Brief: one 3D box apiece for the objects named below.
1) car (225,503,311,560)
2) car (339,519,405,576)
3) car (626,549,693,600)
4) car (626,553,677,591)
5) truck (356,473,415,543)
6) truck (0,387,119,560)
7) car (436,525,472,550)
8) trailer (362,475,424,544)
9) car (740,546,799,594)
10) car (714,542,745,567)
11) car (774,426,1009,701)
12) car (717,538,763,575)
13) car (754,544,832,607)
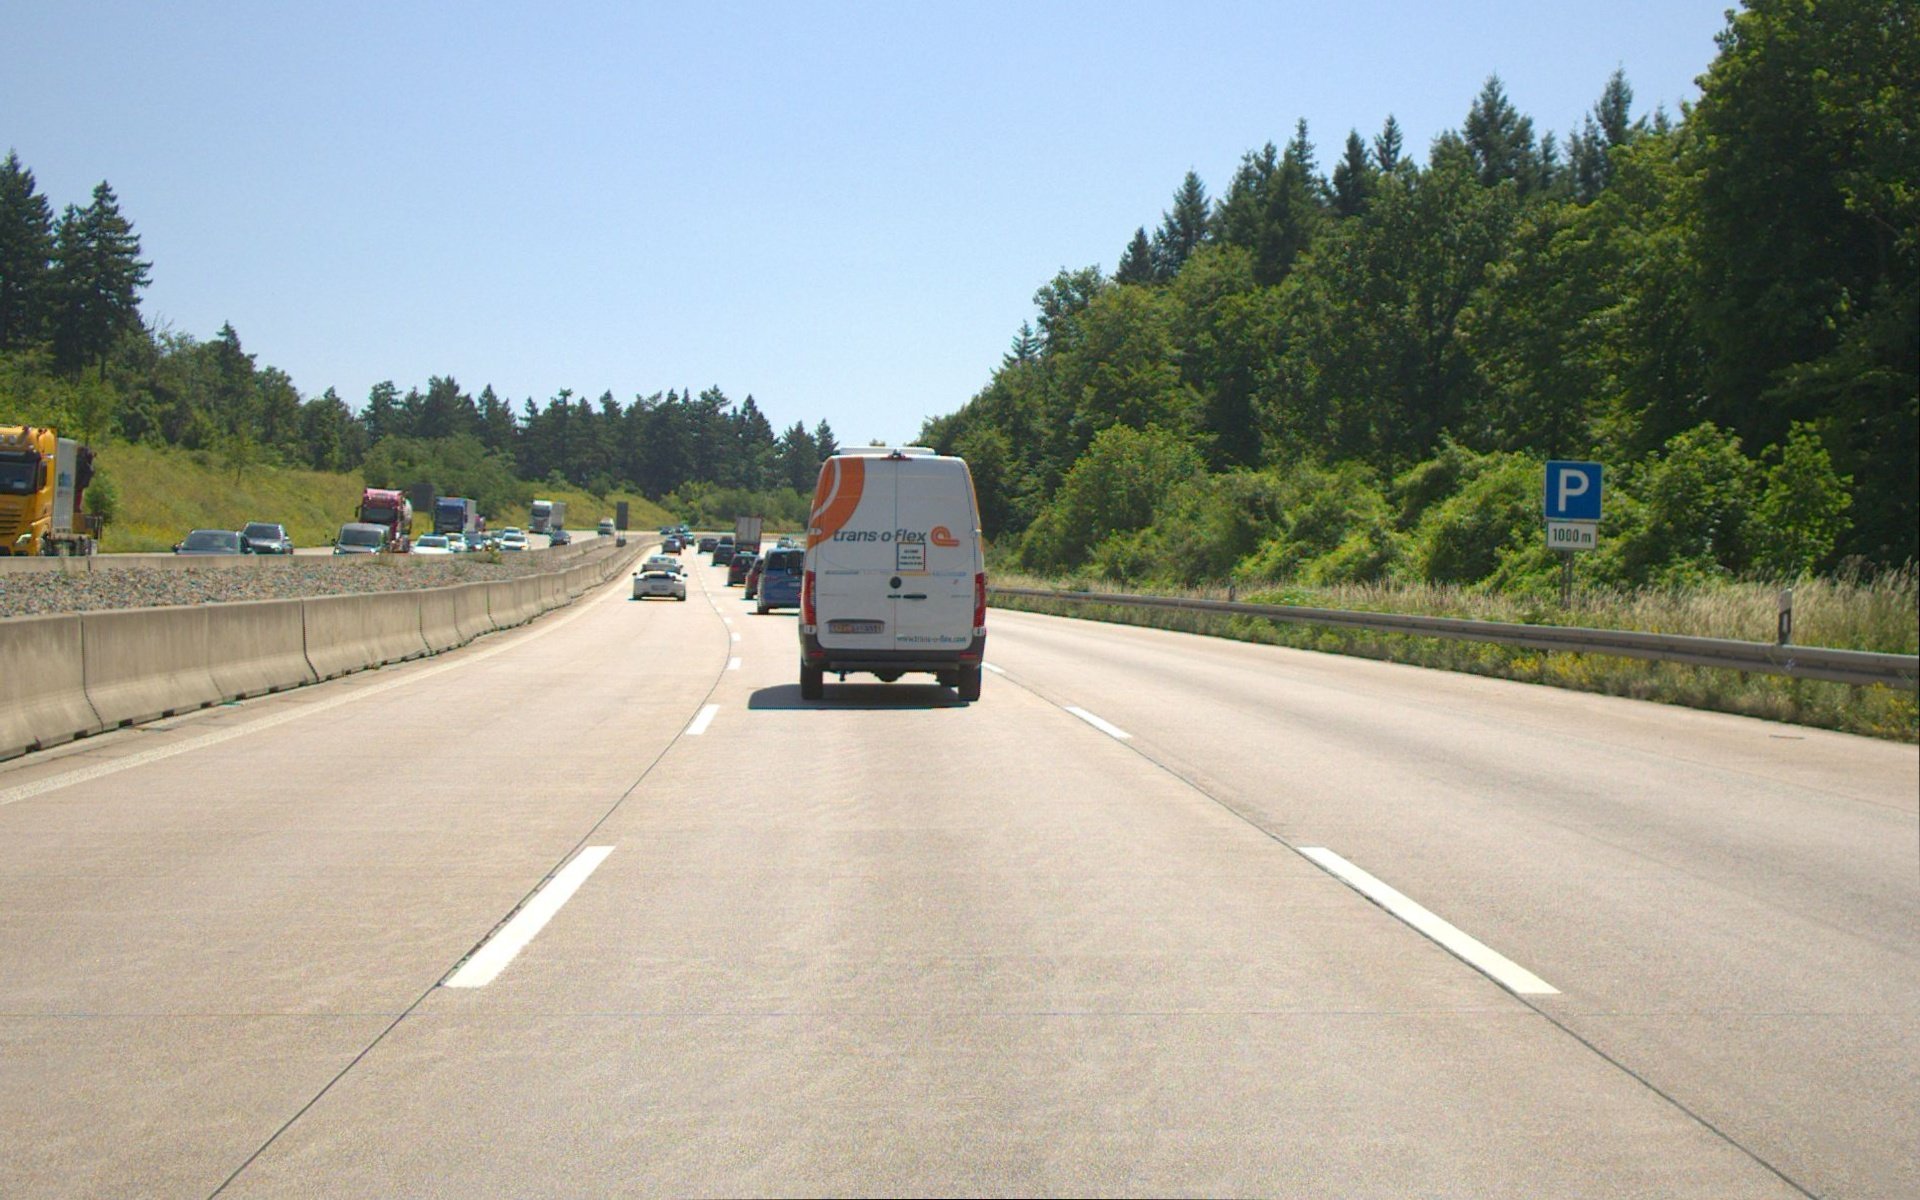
[{"bbox_3d":[-25.022,-2.479,124.494,2.283,2.007,4.803,0,1,-2],"label":"car"},{"bbox_3d":[-21.120,-1.895,123.713,1.993,2.007,4.461,0,1,-5],"label":"car"},{"bbox_3d":[-10.612,-0.890,121.649,1.993,1.678,4.000,3,0,-1],"label":"car"},{"bbox_3d":[-14.547,-1.318,162.167,1.993,1.678,4.000,3,0,-1],"label":"car"},{"bbox_3d":[-35.826,-5.698,214.484,2.933,4.154,5.983,3,0,-4],"label":"truck"},{"bbox_3d":[-25.785,-3.381,95.104,2.913,4.498,11.260,1,1,-4],"label":"truck"},{"bbox_3d":[-32.730,-4.038,222.480,1.993,1.577,4.180,3,1,-4],"label":"car"},{"bbox_3d":[-36.259,-5.771,220.136,2.933,4.154,9.336,3,0,-4],"label":"trailer"},{"bbox_3d":[-7.234,-1.146,130.820,1.993,1.678,4.000,3,0,-1],"label":"car"},{"bbox_3d":[-16.740,-3.305,249.863,1.993,1.678,4.000,3,0,-1],"label":"car"},{"bbox_3d":[-0.857,-0.444,38.518,2.226,2.834,5.455,1,1,-5],"label":"car"},{"bbox_3d":[-10.908,-2.153,170.556,1.993,1.678,4.000,3,0,-1],"label":"car"},{"bbox_3d":[-4.746,-0.706,98.258,1.993,1.678,4.000,3,0,-1],"label":"car"}]
